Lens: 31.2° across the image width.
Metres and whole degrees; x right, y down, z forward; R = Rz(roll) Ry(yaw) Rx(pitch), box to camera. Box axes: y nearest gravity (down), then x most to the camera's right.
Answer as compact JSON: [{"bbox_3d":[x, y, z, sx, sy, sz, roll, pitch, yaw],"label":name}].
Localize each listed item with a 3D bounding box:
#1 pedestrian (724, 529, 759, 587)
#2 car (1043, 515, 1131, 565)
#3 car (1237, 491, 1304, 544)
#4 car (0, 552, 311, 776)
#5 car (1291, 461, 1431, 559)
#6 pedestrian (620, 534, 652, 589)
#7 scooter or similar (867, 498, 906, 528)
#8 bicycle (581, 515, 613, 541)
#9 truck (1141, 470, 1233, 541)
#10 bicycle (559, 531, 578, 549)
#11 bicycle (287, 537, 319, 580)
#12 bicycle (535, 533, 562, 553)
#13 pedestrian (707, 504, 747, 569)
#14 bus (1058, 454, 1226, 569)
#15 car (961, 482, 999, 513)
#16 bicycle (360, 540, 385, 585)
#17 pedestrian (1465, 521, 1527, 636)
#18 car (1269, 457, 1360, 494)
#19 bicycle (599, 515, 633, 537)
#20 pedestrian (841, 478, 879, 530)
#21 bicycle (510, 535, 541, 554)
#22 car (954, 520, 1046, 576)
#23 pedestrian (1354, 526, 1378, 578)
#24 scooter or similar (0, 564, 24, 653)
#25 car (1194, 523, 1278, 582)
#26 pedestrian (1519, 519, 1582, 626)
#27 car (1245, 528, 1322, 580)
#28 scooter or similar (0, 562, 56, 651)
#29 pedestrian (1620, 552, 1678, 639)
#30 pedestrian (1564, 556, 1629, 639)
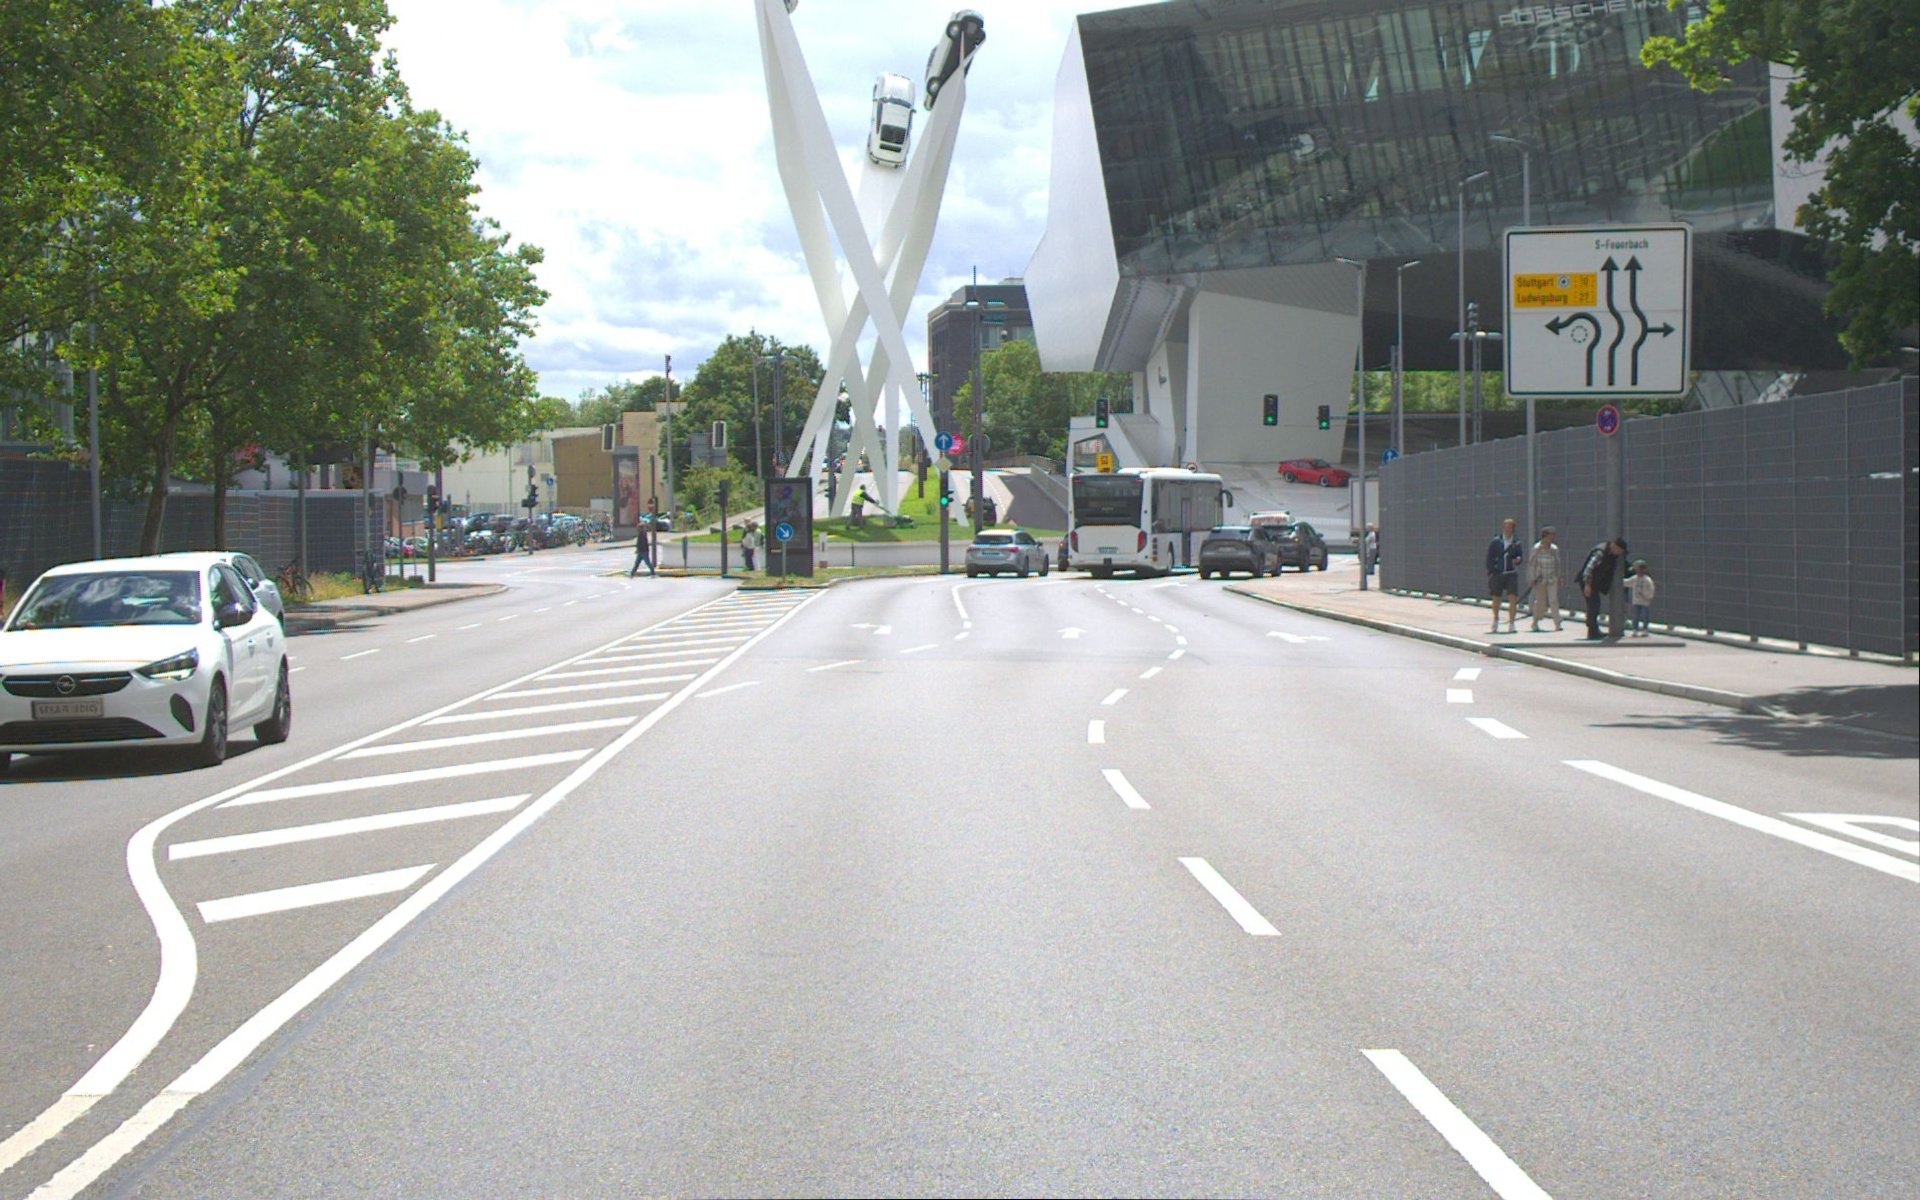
[{"bbox_3d":[-6.746,-1.300,106.149,0.863,1.767,1.036,1,0,-14],"label":"pedestrian"},{"bbox_3d":[4.387,-2.048,118.116,1.995,1.631,3.996,1,0,18],"label":"car"},{"bbox_3d":[11.869,-3.125,131.325,1.995,1.926,4.238,1,0,12],"label":"car"},{"bbox_3d":[-5.913,0.402,24.704,1.691,1.410,4.146,-2,1,0],"label":"car"},{"bbox_3d":[15.185,-3.338,129.604,3.338,3.492,9.333,1,0,18],"label":"car"},{"bbox_3d":[-10.413,-1.237,110.424,0.863,1.767,1.036,1,0,-14],"label":"pedestrian"},{"bbox_3d":[-2.735,-3.236,127.896,1.400,1.022,0.550,-2,7,-3],"label":"scooter or similar"},{"bbox_3d":[-18.803,-3.747,177.949,1.605,1.312,0.493,1,0,-1],"label":"bicycle"},{"bbox_3d":[8.574,-3.540,129.467,2.209,2.507,5.128,1,0,18],"label":"truck"},{"bbox_3d":[-19.946,-3.060,175.223,0.491,0.863,1.610,-1,4,11],"label":"bicycle"},{"bbox_3d":[-15.343,-0.961,80.321,0.296,1.002,1.251,1,0,10],"label":"bicycle"},{"bbox_3d":[-20.702,-2.875,172.850,0.492,0.863,1.609,1,5,28],"label":"bicycle"},{"bbox_3d":[-7.393,-2.018,109.201,0.953,2.048,0.950,1,0,19],"label":"pedestrian"},{"bbox_3d":[5.871,-2.691,108.473,3.074,3.350,12.215,1,0,13],"label":"bus"},{"bbox_3d":[1.129,-5.657,189.551,1.993,1.630,4.656,1,3,1],"label":"car"},{"bbox_3d":[-14.828,-0.952,86.752,0.296,1.127,1.485,1,0,3],"label":"bicycle"},{"bbox_3d":[8.101,-0.329,51.991,0.794,1.715,0.732,1,0,-1],"label":"pedestrian"},{"bbox_3d":[18.725,-6.584,181.865,1.995,1.390,4.511,-6,12,-43],"label":"car"},{"bbox_3d":[-18.722,-4.043,187.059,1.737,1.178,0.670,1,2,-1],"label":"bicycle"},{"bbox_3d":[-3.704,-3.553,127.588,1.281,1.810,0.987,-3,5,-2],"label":"pedestrian"},{"bbox_3d":[-21.667,-2.761,171.281,0.492,0.863,1.607,1,3,40],"label":"bicycle"},{"bbox_3d":[1.227,-1.567,104.365,1.995,1.631,3.998,1,0,12],"label":"car"},{"bbox_3d":[12.688,-1.499,107.472,0.660,1.602,0.822,1,0,11],"label":"pedestrian"},{"bbox_3d":[-13.730,0.116,48.643,0.523,1.230,1.318,3,2,1],"label":"scooter or similar"},{"bbox_3d":[8.336,-1.453,103.677,1.995,1.631,3.998,1,2,12],"label":"car"},{"bbox_3d":[8.937,-0.420,52.050,0.794,1.591,0.732,1,0,-1],"label":"pedestrian"},{"bbox_3d":[10.503,-1.484,111.541,1.995,1.631,3.998,1,0,12],"label":"car"},{"bbox_3d":[-13.673,0.084,50.024,0.523,1.230,1.317,3,2,6],"label":"scooter or similar"},{"bbox_3d":[9.756,-0.066,48.707,0.714,1.202,0.598,1,0,3],"label":"pedestrian"},{"bbox_3d":[8.974,-0.037,48.525,0.757,1.145,0.971,1,0,3],"label":"pedestrian"}]
